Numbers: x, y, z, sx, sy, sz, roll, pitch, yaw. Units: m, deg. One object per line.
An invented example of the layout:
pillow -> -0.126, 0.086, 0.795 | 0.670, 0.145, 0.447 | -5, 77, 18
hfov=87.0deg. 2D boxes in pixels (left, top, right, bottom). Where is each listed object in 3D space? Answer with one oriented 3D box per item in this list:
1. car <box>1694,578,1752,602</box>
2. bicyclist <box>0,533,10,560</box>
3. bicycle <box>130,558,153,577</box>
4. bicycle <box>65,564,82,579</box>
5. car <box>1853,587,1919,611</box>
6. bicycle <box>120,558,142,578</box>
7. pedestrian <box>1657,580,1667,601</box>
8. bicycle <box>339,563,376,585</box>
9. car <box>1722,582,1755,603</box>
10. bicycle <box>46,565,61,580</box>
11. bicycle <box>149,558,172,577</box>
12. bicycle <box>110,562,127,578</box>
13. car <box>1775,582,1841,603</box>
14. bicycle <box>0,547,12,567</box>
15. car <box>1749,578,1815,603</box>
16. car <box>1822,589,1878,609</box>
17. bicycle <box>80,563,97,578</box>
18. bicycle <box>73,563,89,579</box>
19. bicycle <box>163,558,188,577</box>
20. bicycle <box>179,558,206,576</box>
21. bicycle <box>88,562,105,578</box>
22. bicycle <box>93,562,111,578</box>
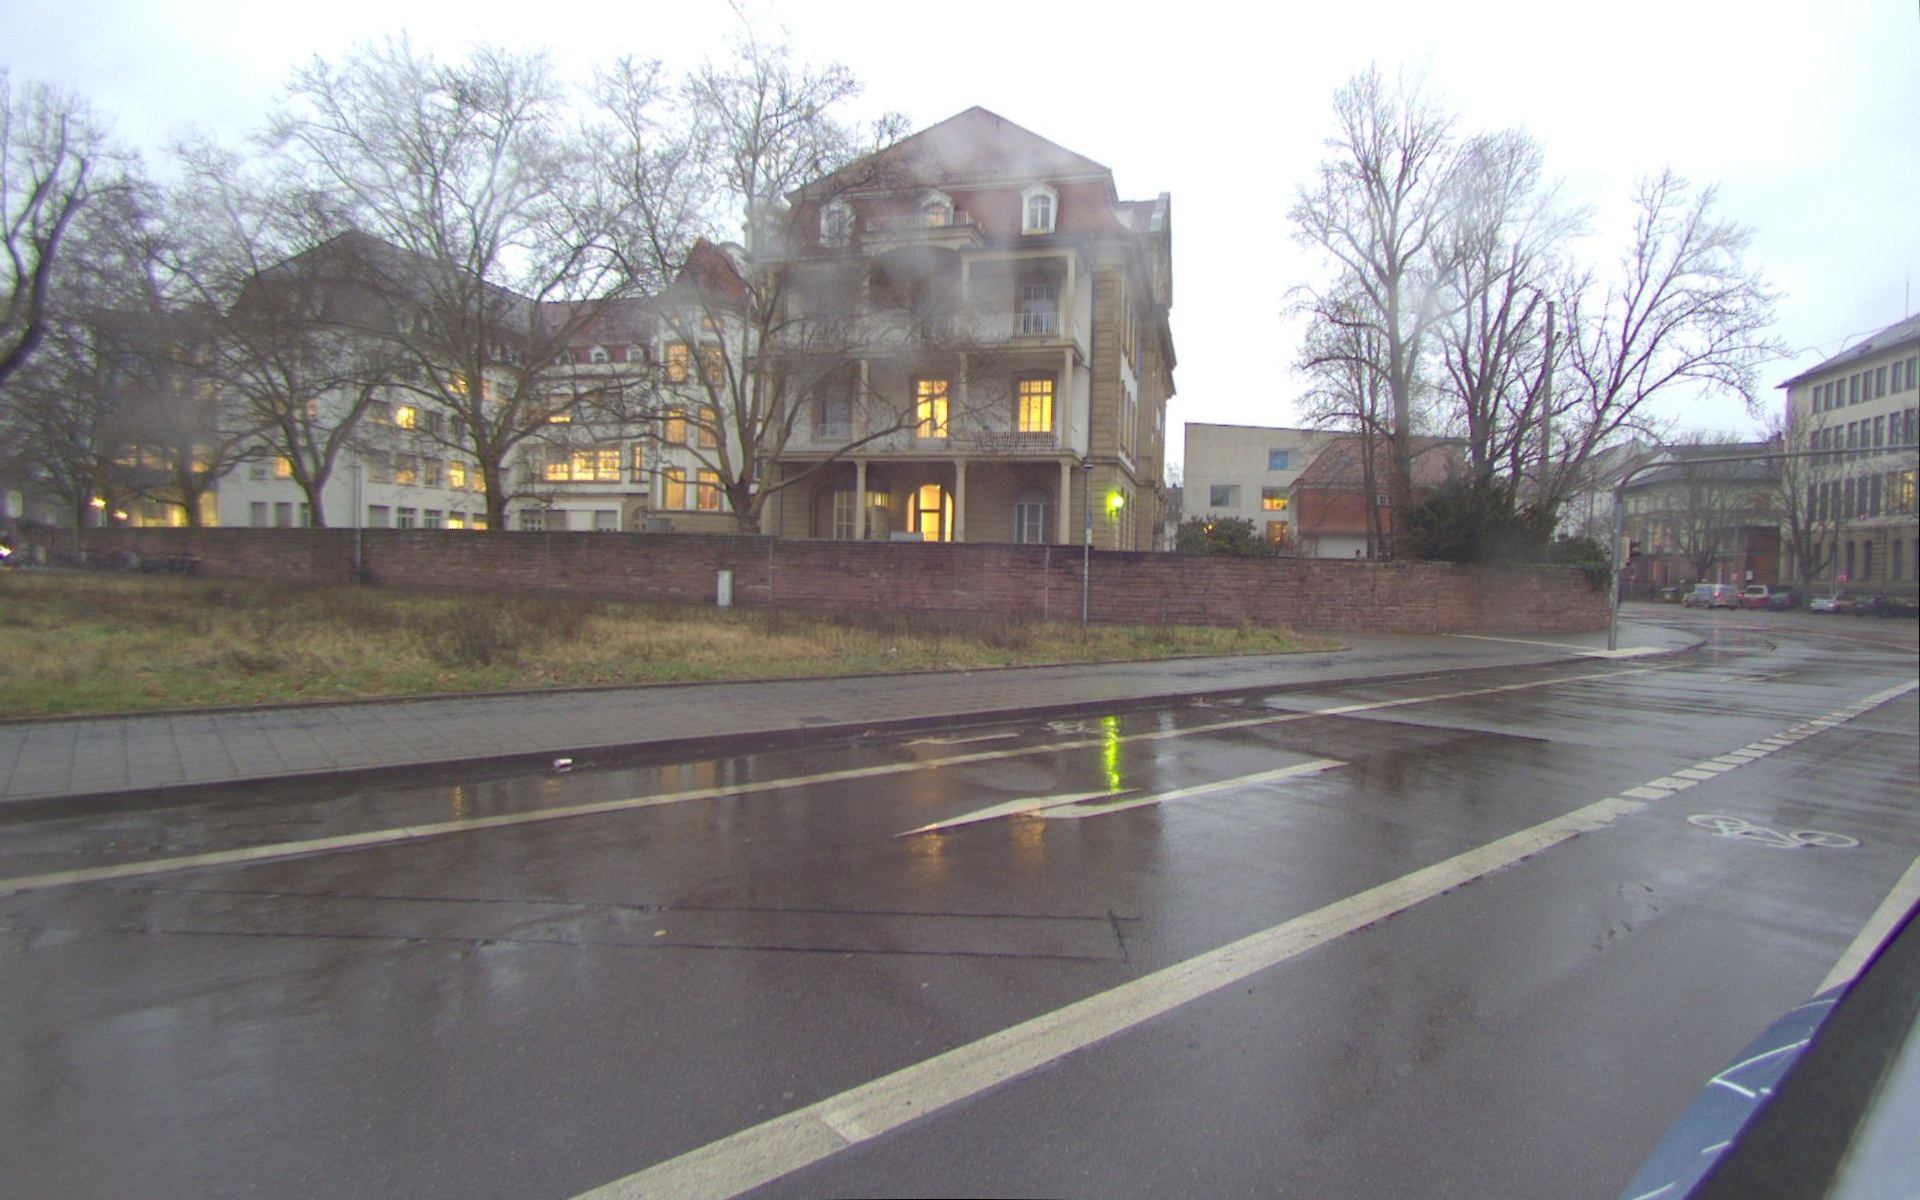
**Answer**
car -> 59.170, -0.780, 78.549 | 1.852, 1.868, 3.991 | 0, 0, 8
bicyclist -> -59.799, -3.334, 63.205 | 0.450, 1.662, 0.603 | 0, 0, 37
bicycle -> -38.627, -1.508, 47.768 | 1.519, 0.869, 0.389 | 0, 0, 33
bicycle -> -47.897, -1.540, 54.674 | 1.522, 0.796, 0.389 | 0, 0, 38
car -> 61.961, -0.059, 67.012 | 3.927, 1.570, 1.800 | 0, 0, 4
bicycle -> -39.909, -1.540, 48.722 | 1.519, 0.928, 0.389 | 0, 0, 33
pedestrian -> 67.897, -0.903, 97.846 | 0.539, 2.038, 0.473 | 2, 2, 16
bicycle -> -23.385, -0.989, 39.272 | 1.366, 0.835, 0.392 | 0, 0, 14
car -> 66.478, -0.643, 86.394 | 1.992, 1.690, 3.940 | 0, 1, 42
bicycle -> -51.610, -1.549, 57.592 | 1.522, 0.796, 0.389 | 0, 0, 38
bicycle -> -37.031, -1.498, 46.886 | 1.480, 0.849, 0.346 | 0, 0, 32
bicycle -> -41.475, -1.478, 49.876 | 1.599, 0.796, 0.388 | 0, 0, 41
car -> 64.697, -0.584, 77.232 | 3.916, 1.570, 1.805 | 0, 0, -13
bicycle -> -59.791, -2.696, 63.195 | 1.670, 1.182, 0.603 | 0, 0, 37
car -> 64.978, -0.790, 80.029 | 3.916, 1.924, 2.052 | 0, 0, -13
car -> 63.600, -0.080, 72.306 | 3.568, 1.322, 1.712 | -1, 0, -25
bicycle -> -45.443, -1.534, 52.741 | 1.522, 0.796, 0.389 | 0, 0, 38
bicycle -> -46.673, -1.537, 53.719 | 1.522, 0.796, 0.389 | 0, 0, 38
bicycle -> -35.551, -1.470, 45.860 | 1.519, 0.796, 0.389 | 0, 0, 33
bicycle -> -34.211, -1.469, 45.111 | 1.399, 0.796, 0.355 | 0, 0, 26
bicycle -> -44.180, -1.531, 51.768 | 1.522, 0.796, 0.389 | 0, 0, 38
bicycle -> -43.132, -1.497, 50.897 | 1.522, 0.796, 0.389 | 0, 0, 38
